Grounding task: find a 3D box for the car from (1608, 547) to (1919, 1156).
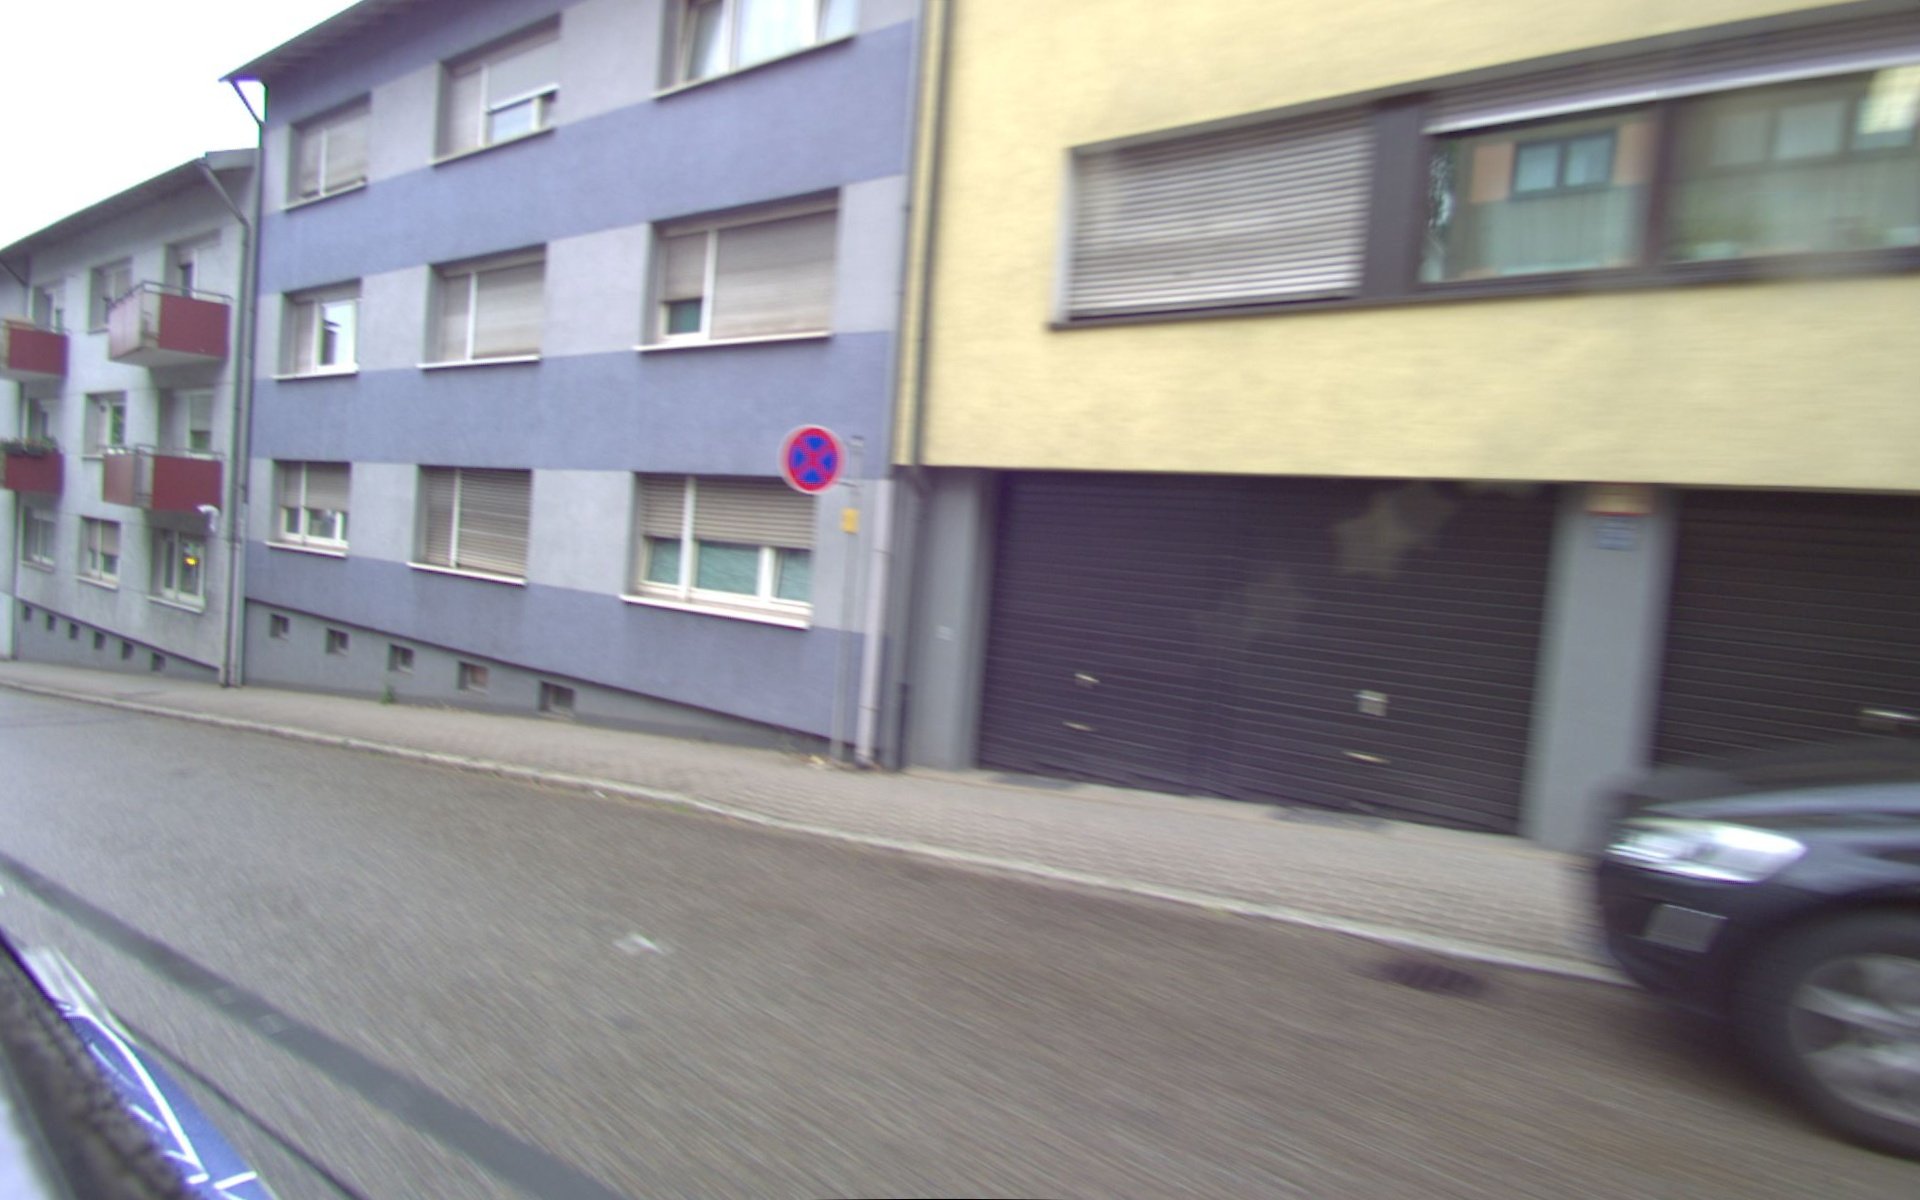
[{"bbox_3d":[4.414,0.678,2.638,4.435,1.662,1.975,-1,-2,38],"label":"car"}]
